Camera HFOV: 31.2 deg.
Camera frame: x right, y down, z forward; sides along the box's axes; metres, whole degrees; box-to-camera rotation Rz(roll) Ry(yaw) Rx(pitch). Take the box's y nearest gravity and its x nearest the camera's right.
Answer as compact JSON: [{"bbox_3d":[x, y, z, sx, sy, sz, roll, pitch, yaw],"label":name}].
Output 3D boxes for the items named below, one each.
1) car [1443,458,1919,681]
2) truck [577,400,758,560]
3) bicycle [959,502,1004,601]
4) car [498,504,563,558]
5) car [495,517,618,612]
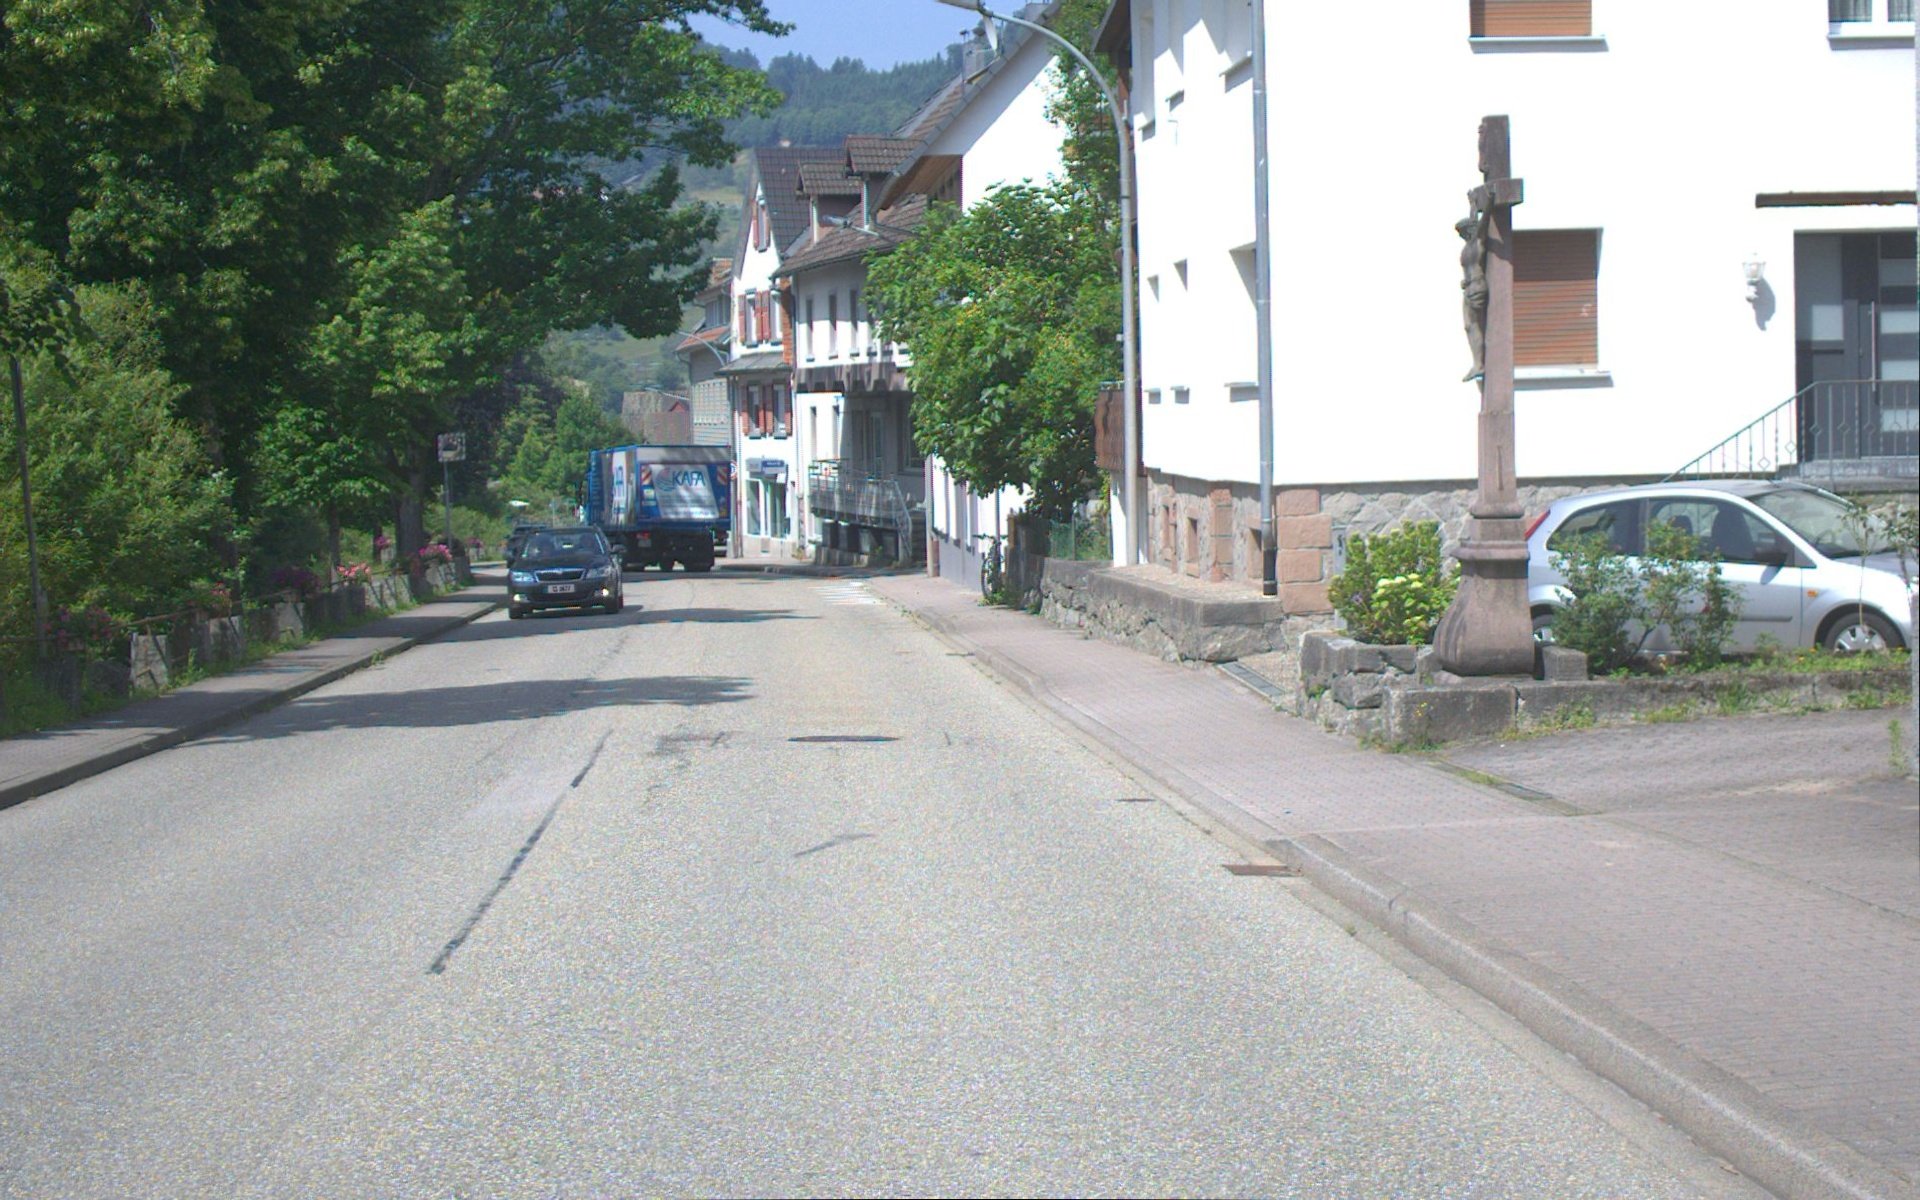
[{"bbox_3d":[5.547,-0.217,24.769,3.773,1.422,1.606,-2,2,42],"label":"car"},{"bbox_3d":[-8.150,-3.216,94.753,3.362,3.769,8.442,-5,0,-14],"label":"truck"},{"bbox_3d":[0.313,-0.740,50.889,0.425,1.391,2.277,-5,2,-3],"label":"bicycle"},{"bbox_3d":[-15.806,-2.520,126.449,1.773,1.728,4.001,-5,0,-14],"label":"car"},{"bbox_3d":[-6.547,-0.604,56.120,1.666,1.413,4.087,-3,1,-3],"label":"car"}]
